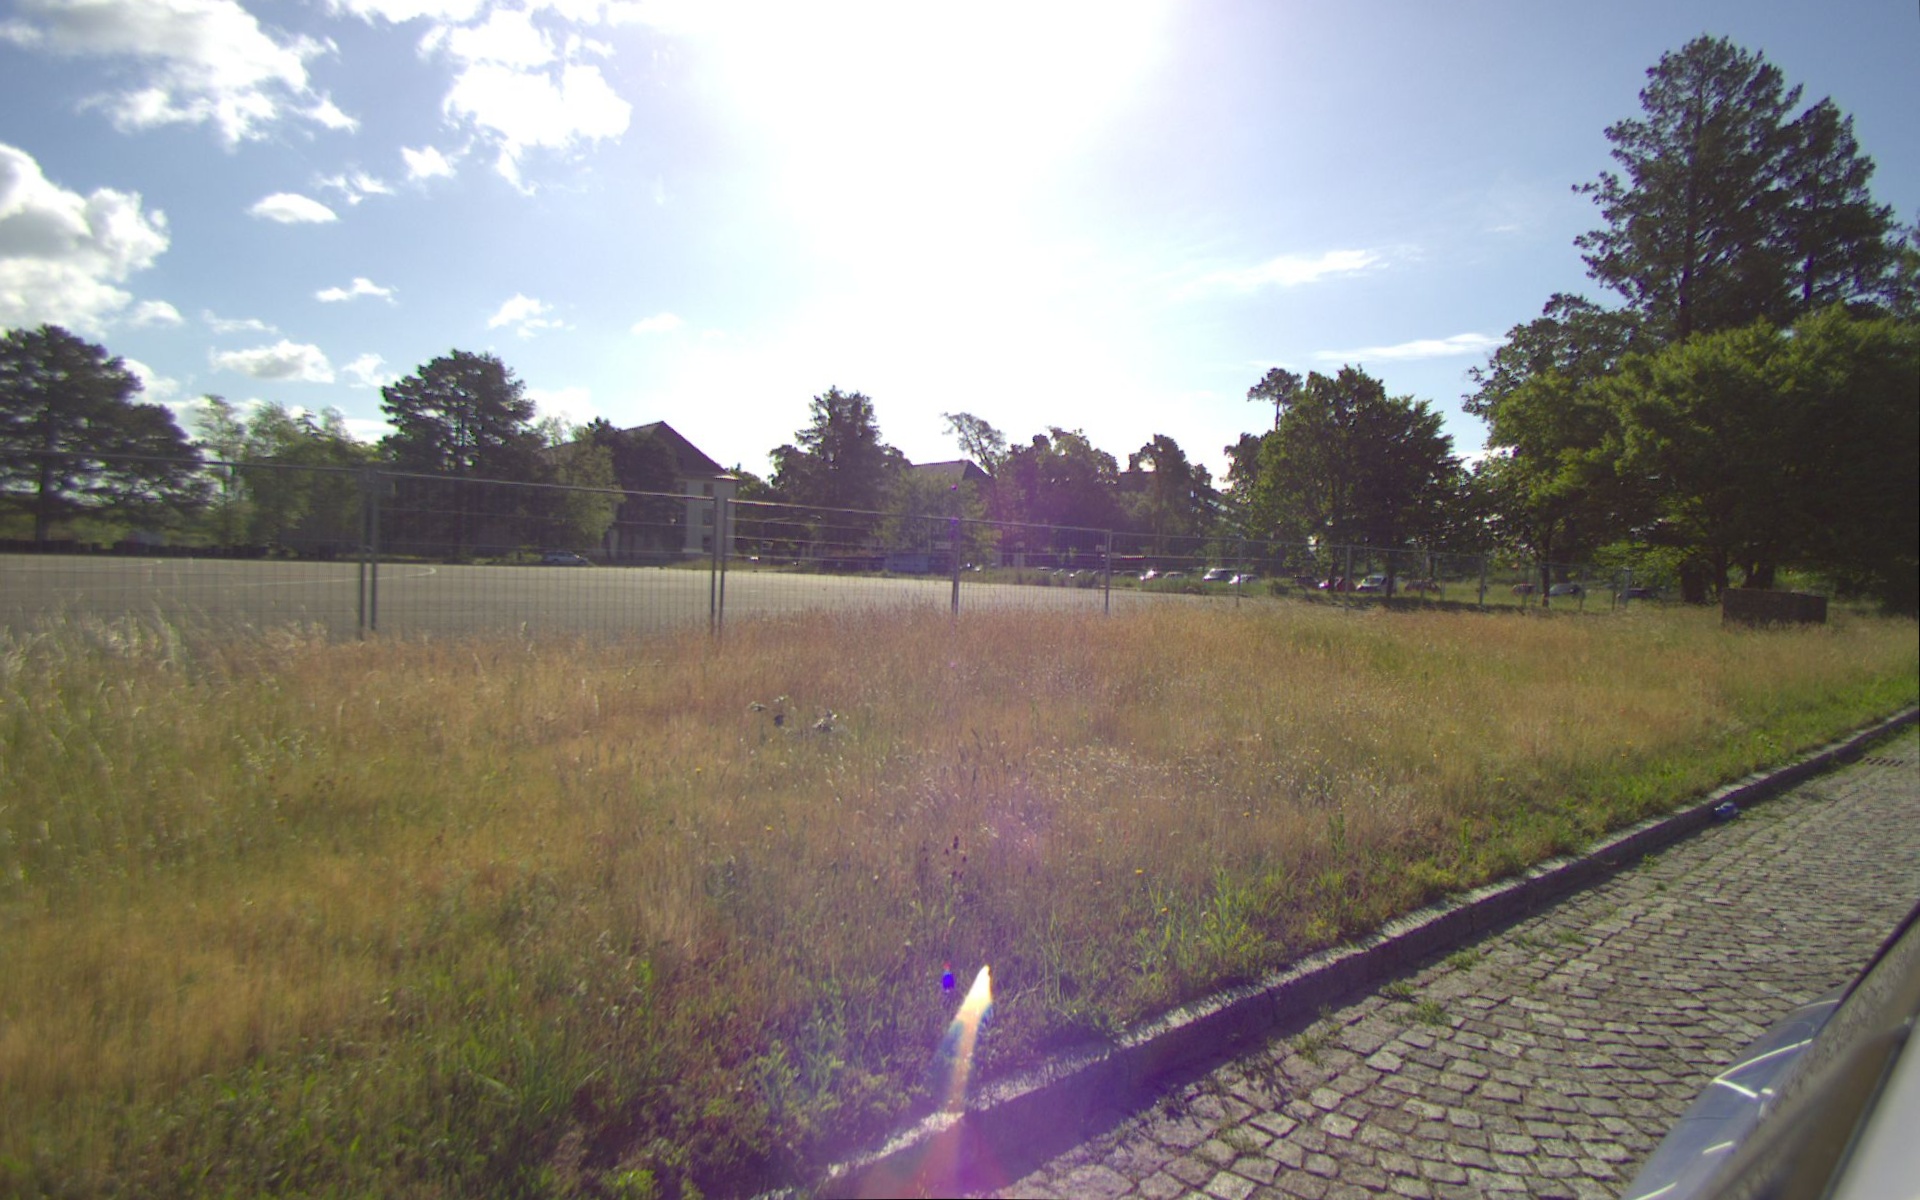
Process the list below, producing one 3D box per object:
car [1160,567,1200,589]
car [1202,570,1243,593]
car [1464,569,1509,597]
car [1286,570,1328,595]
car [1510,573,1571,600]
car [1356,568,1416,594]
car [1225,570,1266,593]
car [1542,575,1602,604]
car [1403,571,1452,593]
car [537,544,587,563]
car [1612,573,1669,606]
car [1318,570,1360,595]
[{"bbox_3d":[21.365,-2.147,98.381,3.781,2.038,1.742,0,3,-38],"label":"car"},{"bbox_3d":[24.376,-1.719,93.984,3.781,2.038,1.742,0,3,-38],"label":"car"},{"bbox_3d":[40.055,-1.254,76.952,3.556,2.038,1.741,0,3,-41],"label":"car"},{"bbox_3d":[29.975,-1.537,87.376,3.556,2.038,1.741,0,3,-41],"label":"car"},{"bbox_3d":[42.306,-0.986,73.738,4.267,1.861,2.248,0,3,-36],"label":"car"},{"bbox_3d":[34.939,-1.590,82.957,5.927,2.038,1.998,-2,2,-40],"label":"car"},{"bbox_3d":[26.022,-1.669,92.159,3.783,2.038,1.741,0,3,-41],"label":"car"},{"bbox_3d":[43.173,-0.729,71.390,4.271,1.861,2.246,0,3,-39],"label":"car"},{"bbox_3d":[36.794,-1.420,79.581,3.930,1.672,1.998,0,3,-41],"label":"car"},{"bbox_3d":[-37.523,-4.373,95.363,3.934,1.601,1.996,0,3,-44],"label":"car"},{"bbox_3d":[45.675,-0.717,67.903,4.276,2.038,2.243,0,3,-43],"label":"car"},{"bbox_3d":[31.990,-1.484,85.406,3.556,2.038,1.741,0,3,-41],"label":"car"}]
